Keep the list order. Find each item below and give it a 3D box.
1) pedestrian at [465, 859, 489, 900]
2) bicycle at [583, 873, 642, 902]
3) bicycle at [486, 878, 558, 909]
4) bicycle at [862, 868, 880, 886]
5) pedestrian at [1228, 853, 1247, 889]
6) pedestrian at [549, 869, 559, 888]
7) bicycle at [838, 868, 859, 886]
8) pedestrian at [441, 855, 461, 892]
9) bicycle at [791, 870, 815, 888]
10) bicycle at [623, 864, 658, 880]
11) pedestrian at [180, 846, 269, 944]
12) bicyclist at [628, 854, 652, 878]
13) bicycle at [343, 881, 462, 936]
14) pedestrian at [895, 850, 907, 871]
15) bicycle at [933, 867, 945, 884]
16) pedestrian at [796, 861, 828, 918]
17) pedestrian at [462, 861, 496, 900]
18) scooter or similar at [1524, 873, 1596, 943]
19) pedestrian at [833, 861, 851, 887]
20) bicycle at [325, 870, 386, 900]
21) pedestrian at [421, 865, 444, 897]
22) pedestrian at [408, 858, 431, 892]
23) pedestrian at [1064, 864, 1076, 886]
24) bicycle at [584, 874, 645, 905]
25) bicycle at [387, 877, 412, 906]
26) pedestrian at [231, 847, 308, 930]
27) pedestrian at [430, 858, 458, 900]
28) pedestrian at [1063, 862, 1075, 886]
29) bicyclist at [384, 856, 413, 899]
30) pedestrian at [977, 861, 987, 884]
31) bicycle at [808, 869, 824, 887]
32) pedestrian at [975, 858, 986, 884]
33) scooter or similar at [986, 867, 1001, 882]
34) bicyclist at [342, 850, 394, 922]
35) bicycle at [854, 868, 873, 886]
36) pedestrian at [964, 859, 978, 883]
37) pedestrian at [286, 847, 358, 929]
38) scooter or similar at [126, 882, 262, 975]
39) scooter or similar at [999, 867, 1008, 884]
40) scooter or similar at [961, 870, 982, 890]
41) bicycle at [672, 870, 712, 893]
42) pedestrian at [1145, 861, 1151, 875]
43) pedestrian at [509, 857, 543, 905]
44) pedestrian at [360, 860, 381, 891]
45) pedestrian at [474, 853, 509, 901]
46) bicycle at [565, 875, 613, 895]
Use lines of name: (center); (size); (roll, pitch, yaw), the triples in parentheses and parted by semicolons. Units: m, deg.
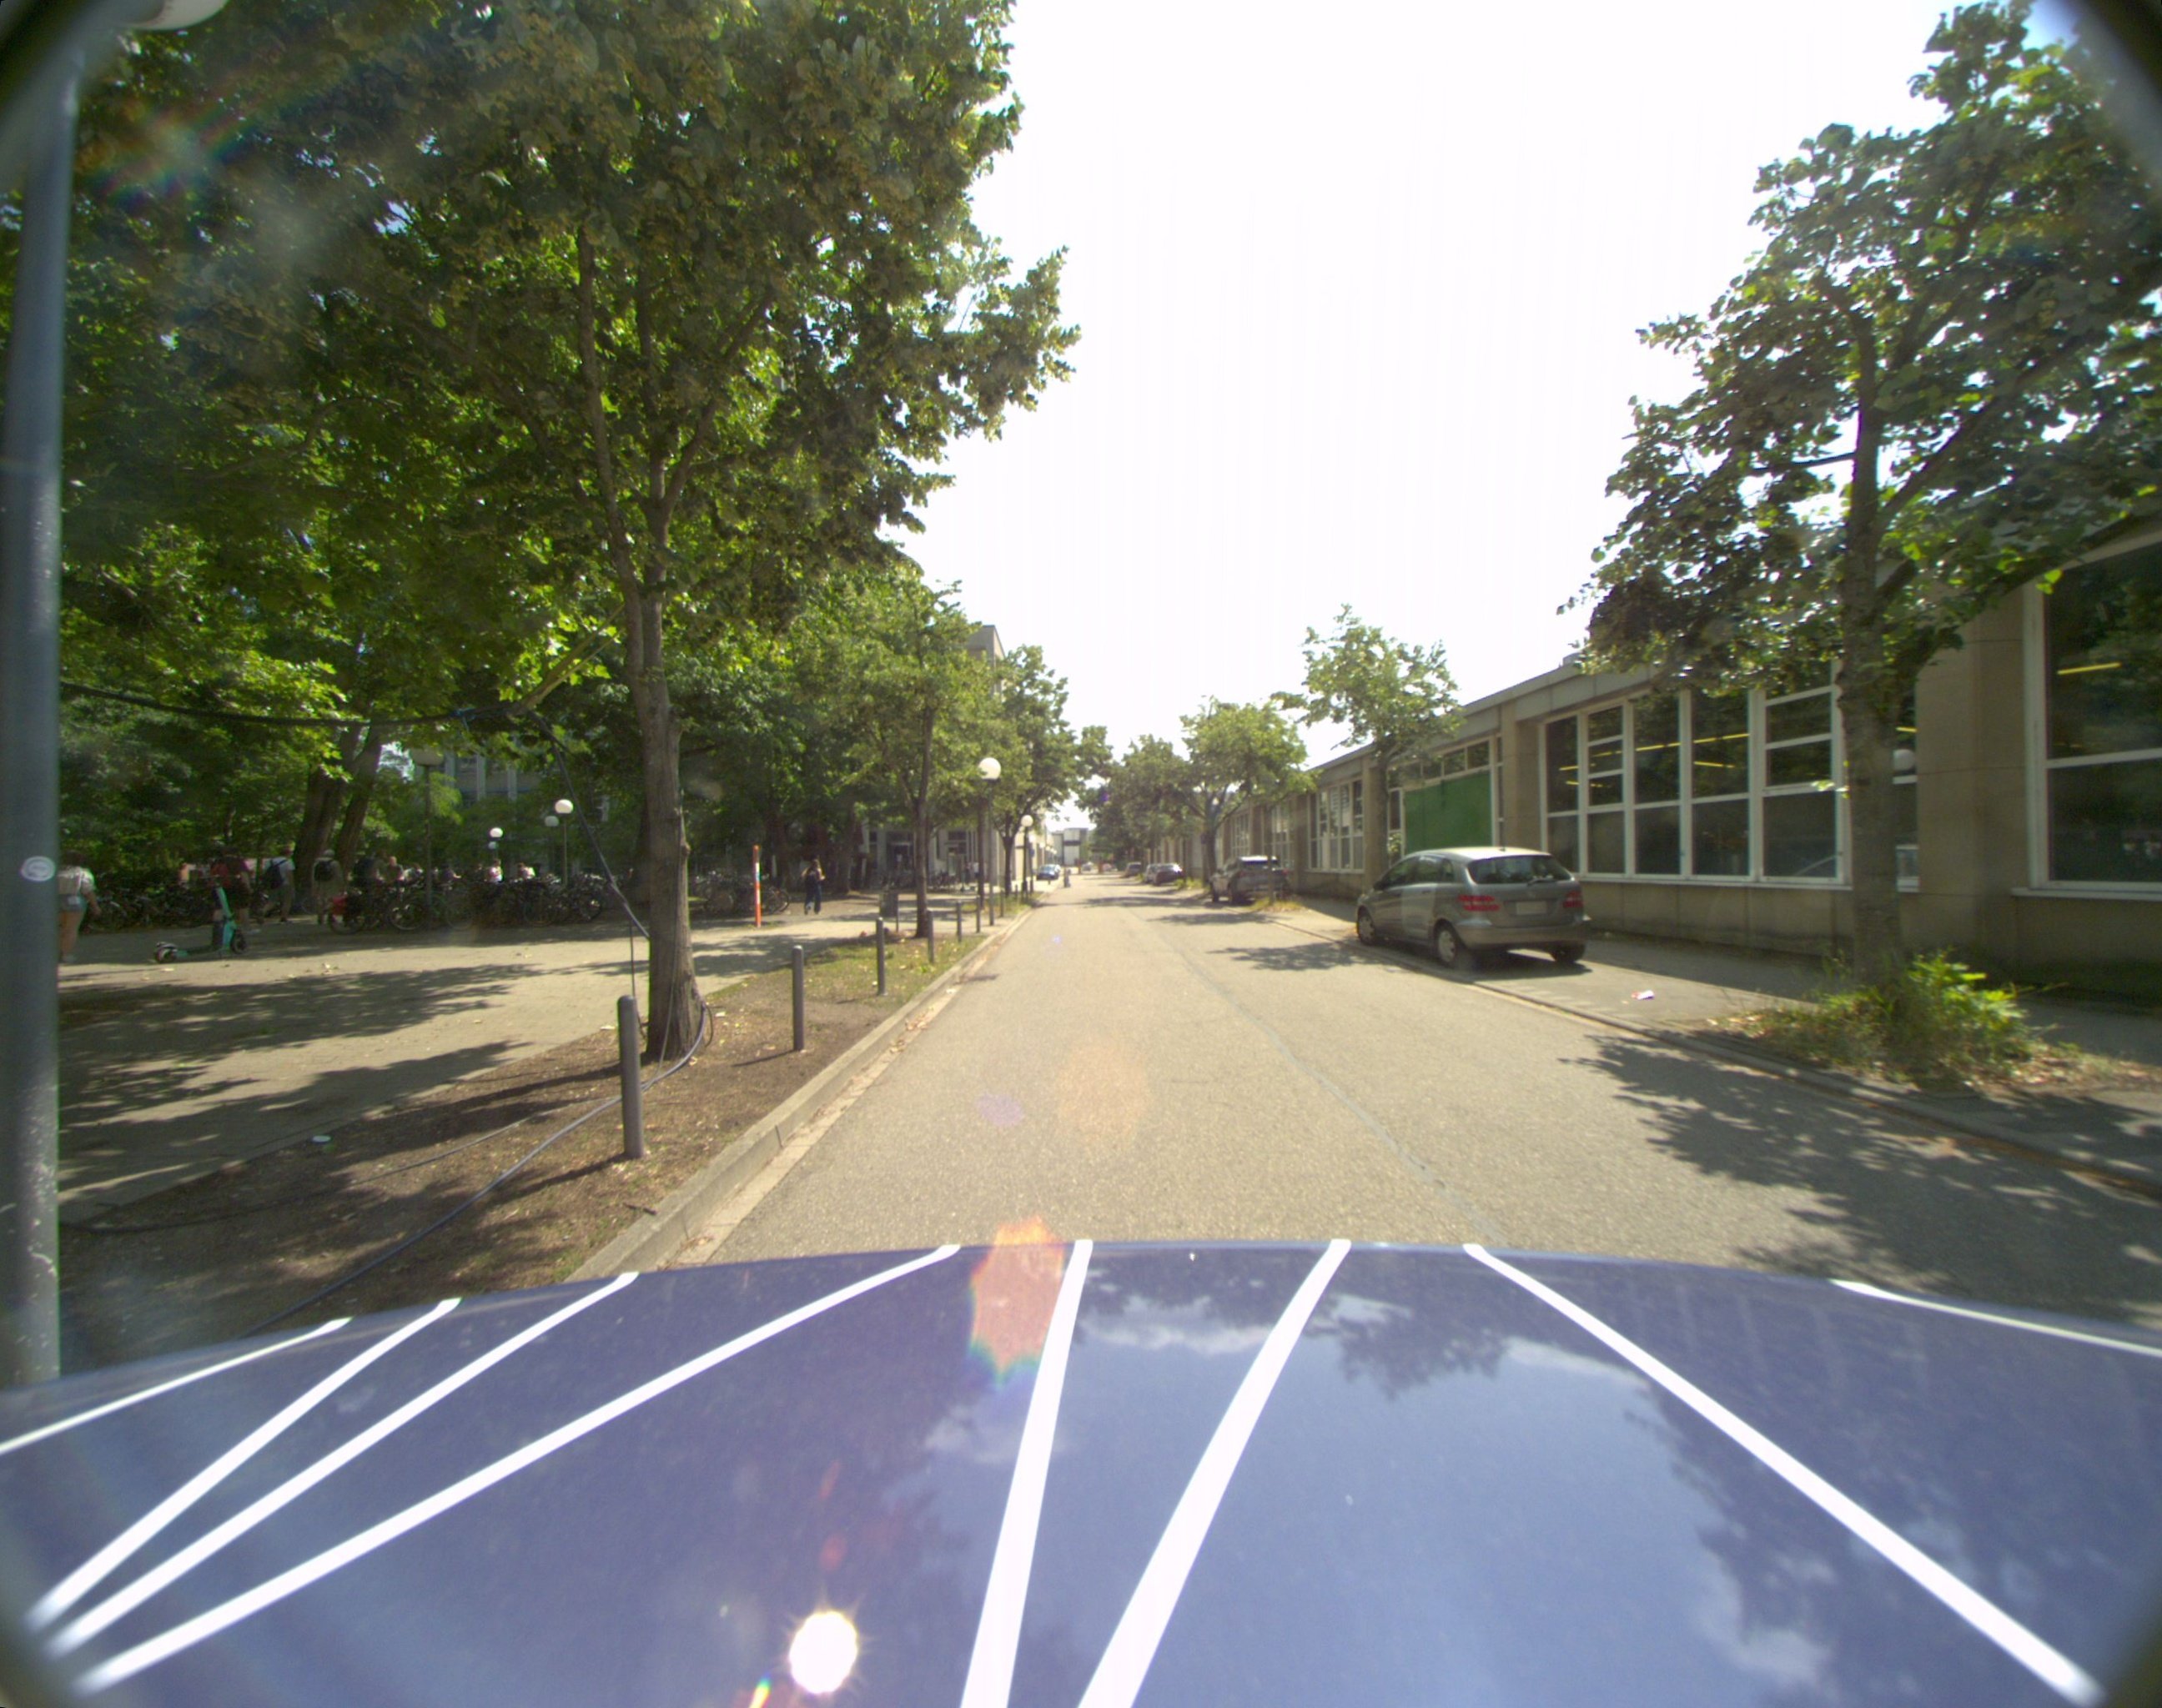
pedestrian: (-26.384, 1.100, 33.197); (0.746, 1.764, 0.719); (0, -1, -31)
bicycle: (-18.114, 1.289, 29.405); (1.907, 1.076, 0.477); (1, 0, -36)
bicycle: (-18.345, 1.295, 24.960); (1.888, 0.973, 0.305); (1, 0, -27)
bicycle: (-13.138, 1.451, 47.478); (0.481, 1.118, 1.698); (1, -2, 5)
pedestrian: (7.964, 0.875, 38.679); (0.790, 1.776, 0.670); (-2, -1, 3)
pedestrian: (-34.296, 1.610, 49.452); (0.402, 1.205, 0.387); (-1, -1, 8)
bicycle: (-14.482, 1.447, 47.377); (0.627, 1.118, 1.698); (1, -2, 5)
pedestrian: (-30.950, 0.965, 37.353); (0.746, 1.764, 0.719); (0, -1, -40)
bicycle: (-17.345, 1.547, 47.396); (0.617, 1.041, 1.698); (-3, -1, 8)
bicycle: (-30.654, 1.227, 52.896); (1.930, 1.036, 0.818); (-1, 3, 0)
pedestrian: (-16.518, 0.770, 14.676); (0.767, 1.844, 0.824); (0, 0, 0)
bicyclist: (-30.720, 0.818, 52.958); (0.959, 1.533, 0.839); (5, -4, -1)
bicycle: (-14.804, 1.175, 16.620); (1.905, 1.136, 0.478); (1, 0, -19)
pedestrian: (-15.494, 0.579, 65.474); (0.618, 1.786, 0.811); (0, 0, 32)
bicycle: (-10.381, 1.568, 55.514); (0.531, 1.235, 1.829); (0, 1, -1)
pedestrian: (-7.621, 0.993, 21.569); (0.570, 1.562, 0.927); (0, -1, 1)
pedestrian: (-27.513, 1.205, 34.724); (0.964, 1.764, 0.971); (0, -1, -22)
scooter or similar: (8.656, 0.953, 13.770); (0.506, 1.162, 1.215); (-2, 0, 0)
pedestrian: (-16.441, 1.390, 52.252); (0.937, 1.730, 0.749); (-1, 0, -3)
bicycle: (-27.343, 1.162, 28.654); (1.614, 1.087, 0.477); (1, 0, -37)
pedestrian: (-36.342, 1.506, 42.562); (0.719, 1.764, 0.746); (-1, -1, 25)
pedestrian: (-34.293, 1.090, 39.398); (0.719, 1.764, 0.746); (-1, -1, 38)
pedestrian: (-0.767, 1.451, 52.999); (0.797, 1.532, 0.664); (-1, 0, -5)
bicycle: (-17.370, 1.308, 28.331); (1.907, 1.076, 0.477); (1, 0, -36)
bicycle: (-23.741, 1.308, 26.470); (0.588, 0.925, 1.747); (3, -1, -43)
pedestrian: (-19.449, 0.812, 18.240); (0.836, 1.937, 1.077); (1, -1, -20)
pedestrian: (-27.001, 1.040, 32.232); (0.746, 1.764, 0.719); (0, -1, -25)
pedestrian: (-0.874, 1.400, 53.694); (0.797, 1.718, 0.601); (-1, 0, -5)
bicyclist: (-23.678, 0.812, 26.353); (0.746, 1.438, 0.801); (0, -1, -43)
pedestrian: (-7.281, 1.344, 55.920); (0.614, 1.719, 0.542); (-1, 0, 1)
bicycle: (-16.534, 1.508, 47.436); (0.568, 1.041, 1.696); (-3, -1, -8)
pedestrian: (-7.234, 1.233, 54.742); (0.687, 1.880, 0.686); (-2, 1, -3)
scooter or similar: (-7.560, 1.722, 65.402); (0.566, 1.205, 1.506); (-2, 2, -40)
bicyclist: (-17.664, 0.780, 18.841); (0.532, 1.719, 1.077); (1, -1, -20)
bicycle: (-13.643, 1.447, 47.638); (0.565, 1.118, 1.698); (1, -2, 5)
pedestrian: (-8.046, 1.240, 55.750); (0.811, 1.786, 0.618); (-1, 0, -44)
pedestrian: (-18.517, 0.824, 18.565); (0.836, 1.937, 1.077); (1, -1, -20)
scooter or similar: (-12.813, 1.045, 11.024); (0.425, 1.211, 1.294); (-1, 0, 1)
scooter or similar: (-5.862, 1.632, 57.659); (0.564, 1.204, 1.510); (2, 0, -1)
scooter or similar: (-6.009, 1.436, 41.681); (0.496, 1.107, 1.365); (0, -2, 25)
bicycle: (-20.705, 1.465, 40.500); (1.849, 1.163, 0.435); (0, -1, -35)
pedestrian: (7.550, 1.583, 85.879); (0.605, 1.571, 0.551); (1, -1, -2)
pedestrian: (-20.424, 0.991, 27.974); (0.744, 1.764, 0.721); (0, -1, 3)
pedestrian: (-35.158, 1.058, 37.605); (0.693, 1.502, 0.513); (3, -1, -43)
pedestrian: (-21.912, 0.839, 28.261); (0.745, 1.764, 0.720); (0, -1, -8)
bicycle: (-24.393, 1.529, 37.692); (0.477, 0.973, 1.908); (0, 0, 41)
